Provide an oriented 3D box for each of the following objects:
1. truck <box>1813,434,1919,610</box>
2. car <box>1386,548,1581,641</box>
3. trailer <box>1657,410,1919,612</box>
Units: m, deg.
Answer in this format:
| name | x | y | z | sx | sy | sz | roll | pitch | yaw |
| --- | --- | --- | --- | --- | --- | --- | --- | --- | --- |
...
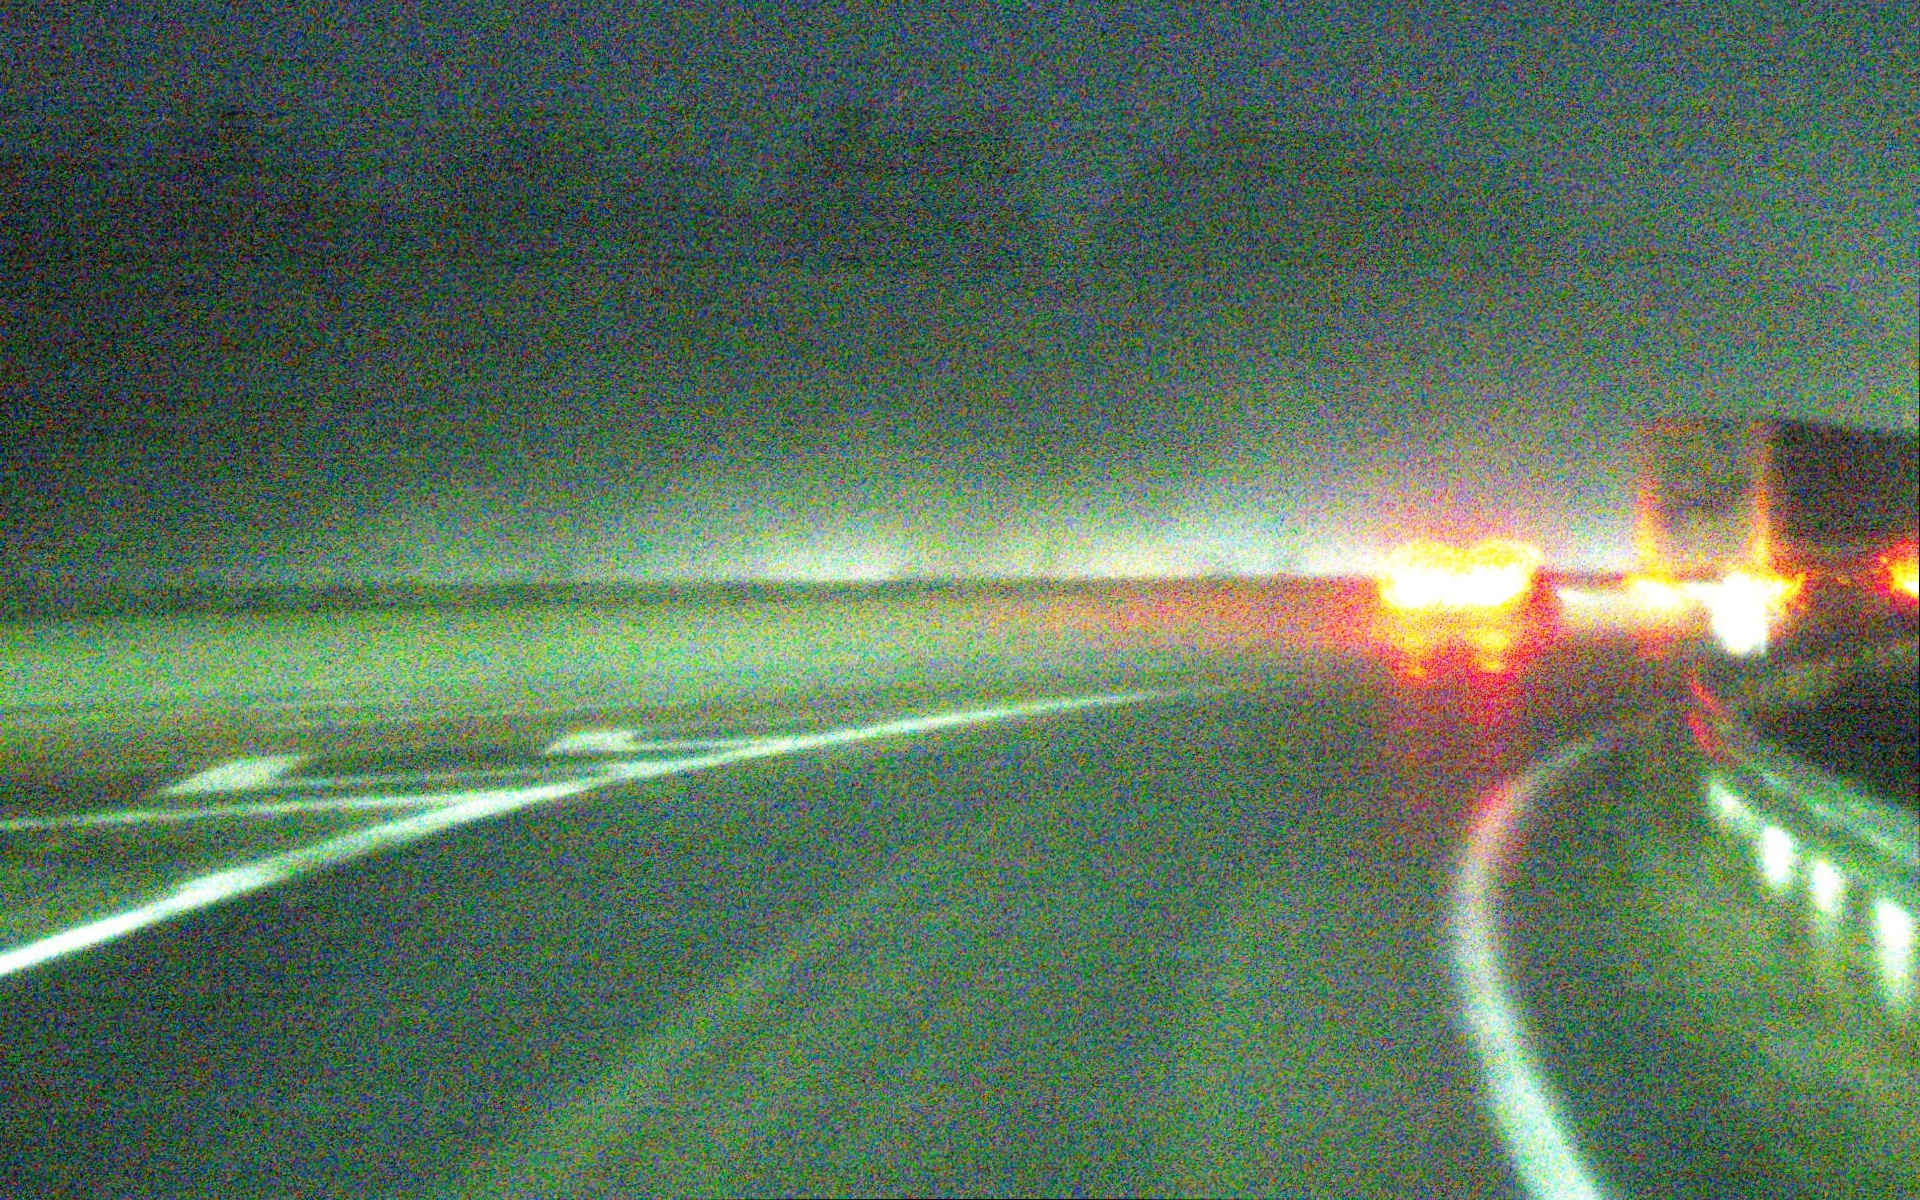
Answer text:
| name | x | y | z | sx | sy | sz | roll | pitch | yaw |
| --- | --- | --- | --- | --- | --- | --- | --- | --- | --- |
| truck | 21.084 | -1.686 | 76.355 | 2.592 | 3.698 | 5.449 | 3 | 2 | 30 |
| car | 9.819 | -0.102 | 64.282 | 1.998 | 1.612 | 3.992 | 3 | 2 | 34 |
| trailer | 17.854 | -1.703 | 70.687 | 2.596 | 3.712 | 13.629 | 3 | 2 | 30 |
